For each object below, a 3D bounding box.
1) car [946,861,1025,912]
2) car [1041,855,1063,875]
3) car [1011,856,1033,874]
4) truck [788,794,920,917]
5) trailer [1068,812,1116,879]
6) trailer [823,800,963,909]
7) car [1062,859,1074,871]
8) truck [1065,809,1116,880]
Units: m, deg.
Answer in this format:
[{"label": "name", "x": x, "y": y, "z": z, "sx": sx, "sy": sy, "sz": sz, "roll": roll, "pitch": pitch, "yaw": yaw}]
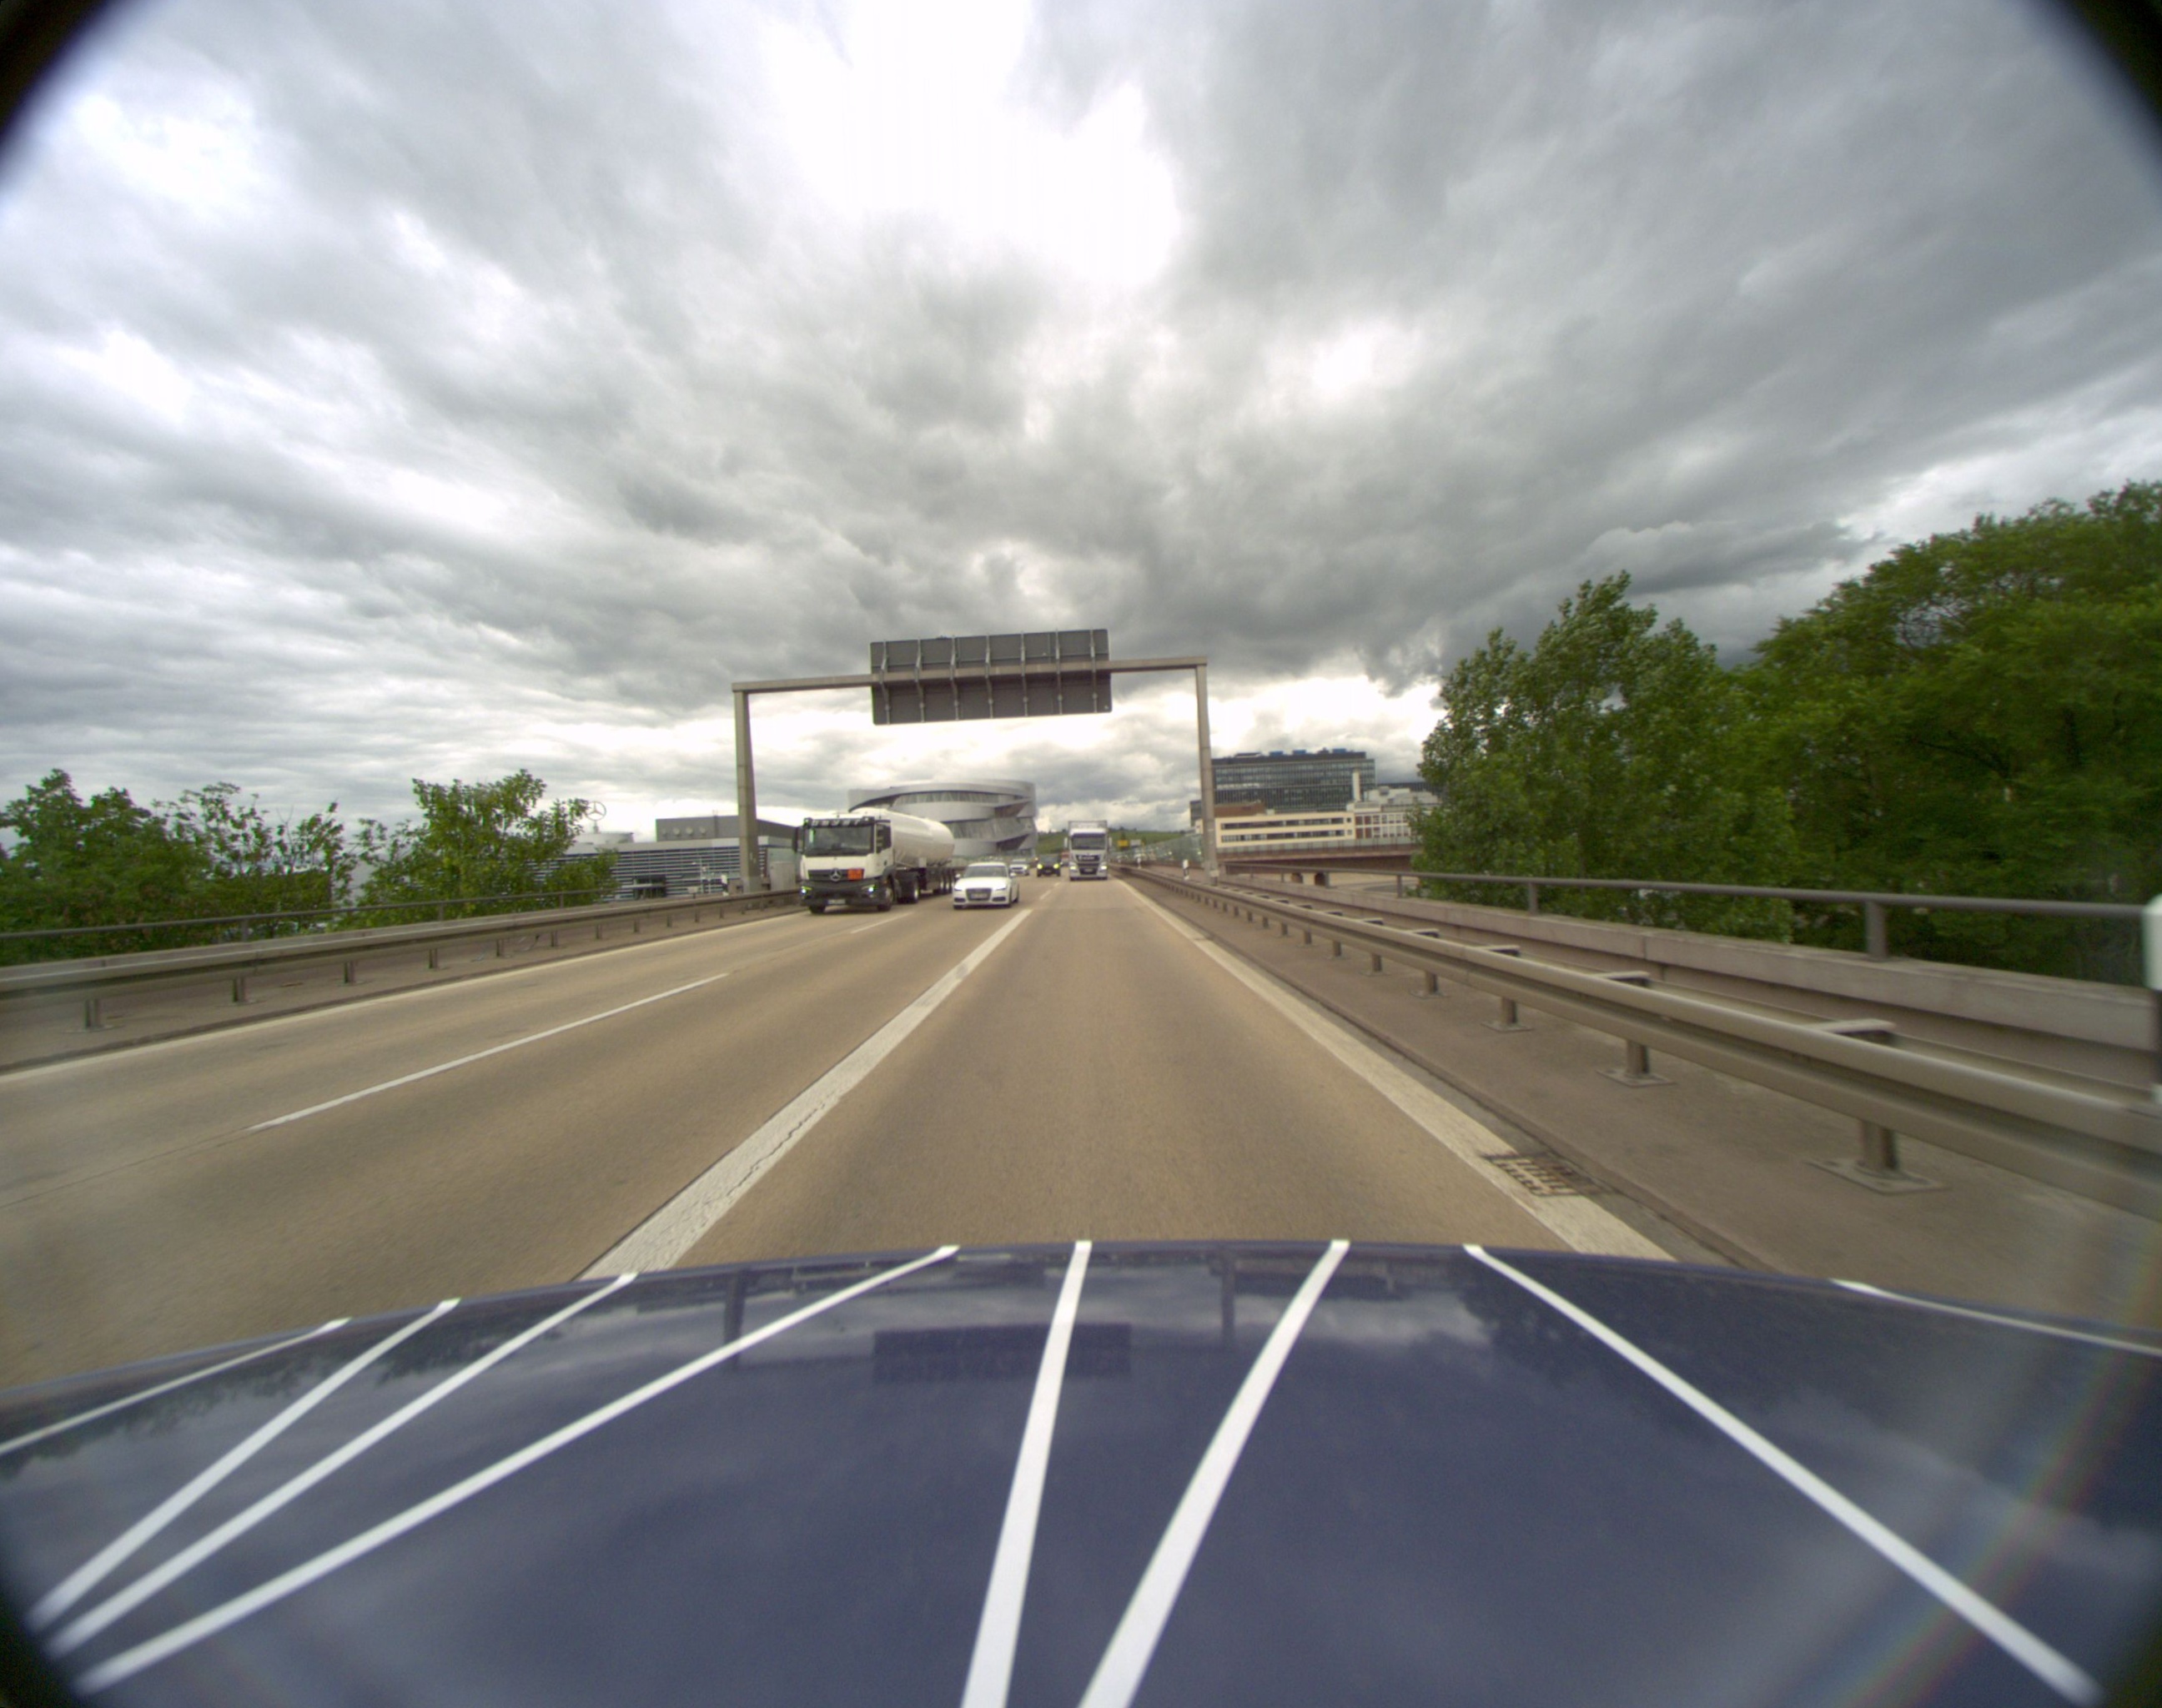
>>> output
[{"label": "car", "x": -2.992, "y": 0.984, "z": 24.650, "sx": 1.848, "sy": 1.443, "sz": 3.933, "roll": -2, "pitch": 0, "yaw": 3}, {"label": "car", "x": -2.563, "y": 0.933, "z": 67.637, "sx": 1.765, "sy": 1.624, "sz": 3.627, "roll": -2, "pitch": 0, "yaw": 1}, {"label": "car", "x": -5.861, "y": 1.094, "z": 75.579, "sx": 1.785, "sy": 1.624, "sz": 3.627, "roll": -2, "pitch": 0, "yaw": 1}, {"label": "truck", "x": -7.112, "y": 0.107, "z": 24.502, "sx": 2.637, "sy": 3.492, "sz": 4.905, "roll": -2, "pitch": -1, "yaw": 1}, {"label": "trailer", "x": 0.744, "y": -0.507, "z": 53.024, "sx": 2.880, "sy": 4.104, "sz": 11.220, "roll": -2, "pitch": 0, "yaw": 1}, {"label": "trailer", "x": -7.040, "y": -0.001, "z": 30.560, "sx": 2.657, "sy": 3.523, "sz": 11.219, "roll": -2, "pitch": 0, "yaw": 1}, {"label": "car", "x": -2.363, "y": 1.918, "z": 137.949, "sx": 1.998, "sy": 2.002, "sz": 4.000, "roll": -2, "pitch": 0, "yaw": 0}, {"label": "truck", "x": 0.650, "y": -0.569, "z": 48.720, "sx": 2.946, "sy": 4.136, "sz": 6.291, "roll": -2, "pitch": 0, "yaw": 1}]
